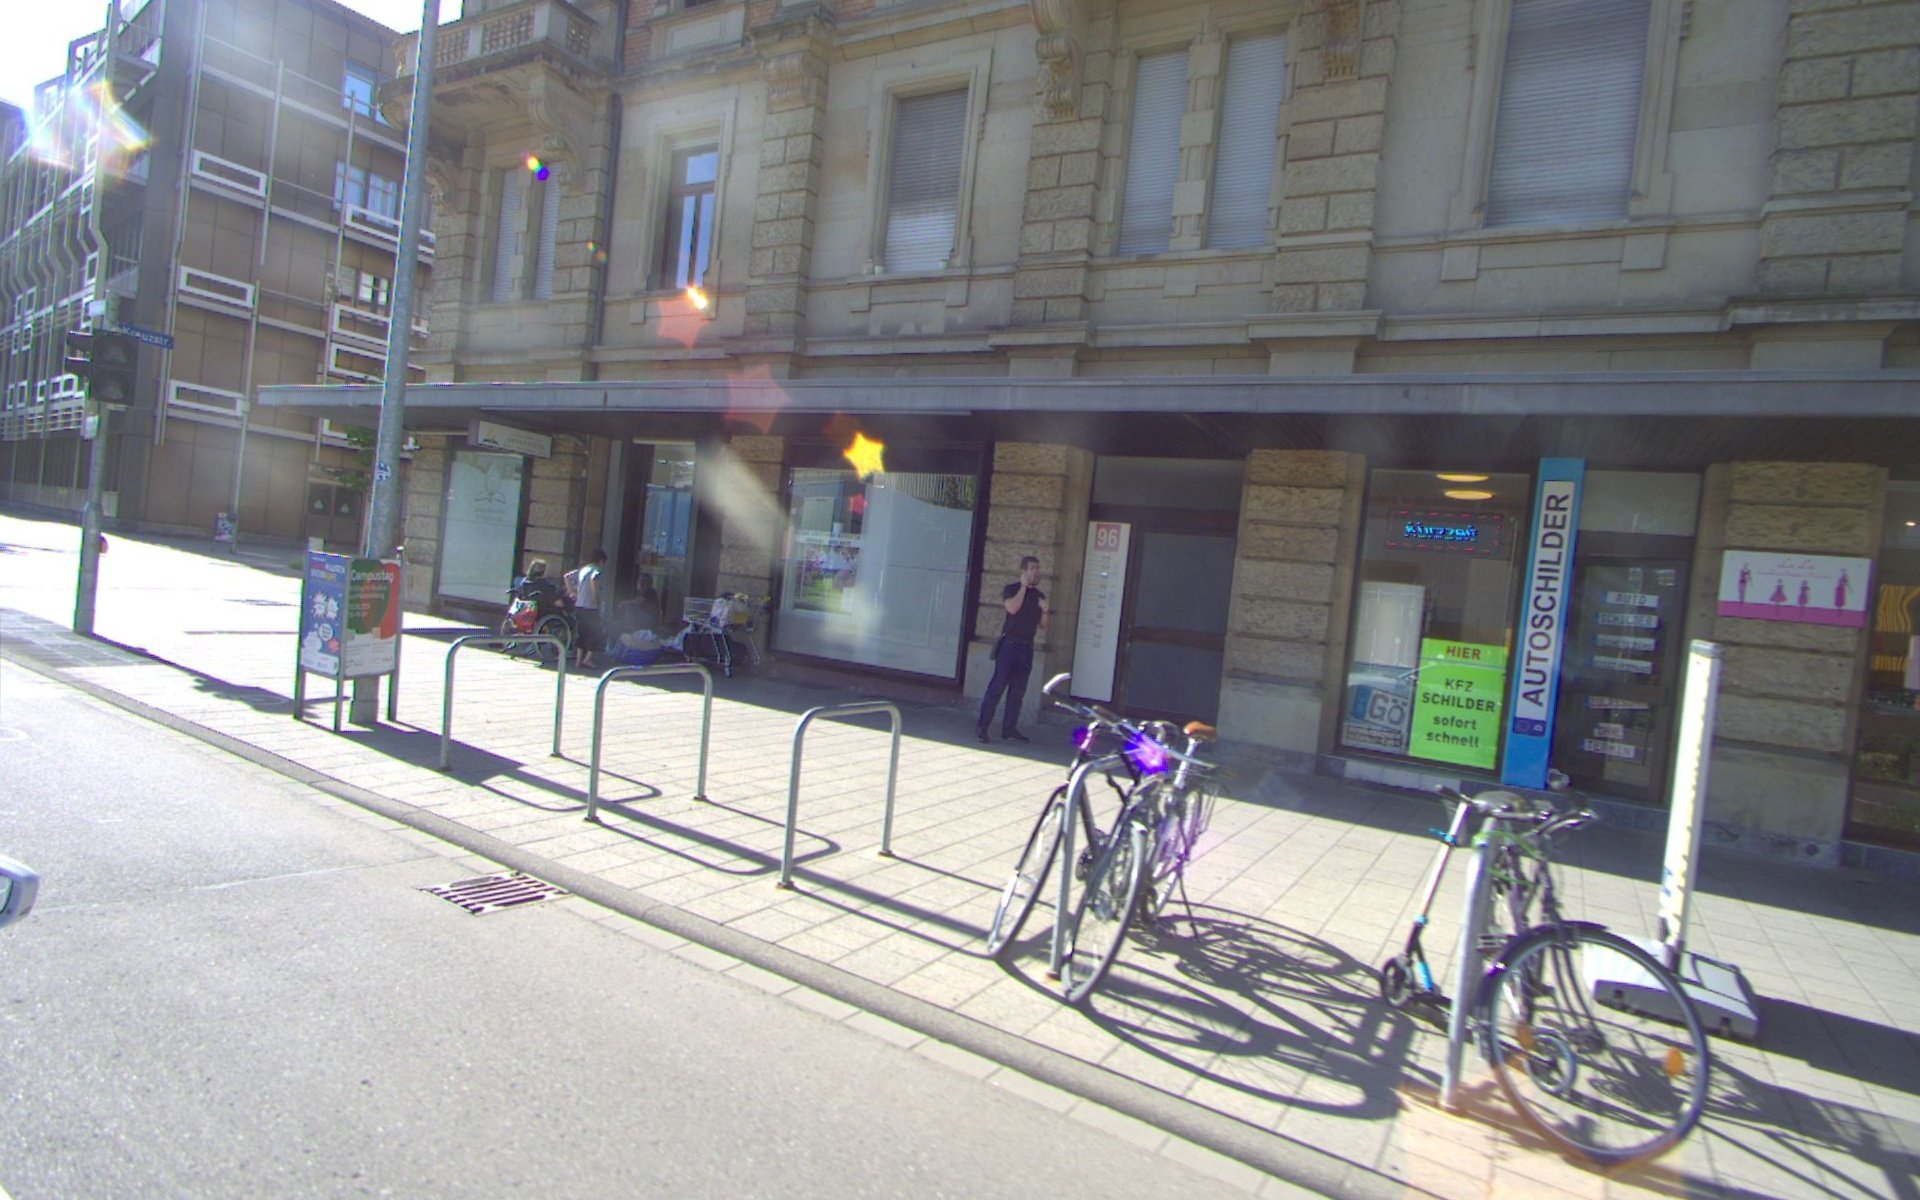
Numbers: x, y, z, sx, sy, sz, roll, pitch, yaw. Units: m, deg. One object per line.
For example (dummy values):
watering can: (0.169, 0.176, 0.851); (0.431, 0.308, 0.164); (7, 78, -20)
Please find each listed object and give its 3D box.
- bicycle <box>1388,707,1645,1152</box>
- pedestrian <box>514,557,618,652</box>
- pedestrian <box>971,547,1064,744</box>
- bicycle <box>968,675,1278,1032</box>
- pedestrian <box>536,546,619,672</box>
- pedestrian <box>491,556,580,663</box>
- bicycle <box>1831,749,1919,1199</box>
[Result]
bicycle: (2.036, 1.086, 3.892); (0.592, 1.125, 1.665); (6, 2, 23)
pedestrian: (-5.477, 0.069, 14.018); (0.691, 1.234, 1.072); (6, 2, 30)
pedestrian: (0.556, 0.437, 9.749); (0.493, 1.824, 0.510); (7, 1, 39)
bicycle: (0.850, 0.973, 4.573); (0.593, 1.135, 2.050); (6, 2, 30)
pedestrian: (-4.570, 0.104, 12.022); (0.637, 1.413, 0.573); (6, 3, 30)
pedestrian: (-5.181, 0.118, 12.279); (0.637, 1.234, 0.716); (7, 3, 36)
bicycle: (3.323, 1.224, 2.960); (0.680, 1.268, 1.865); (6, 2, 30)
